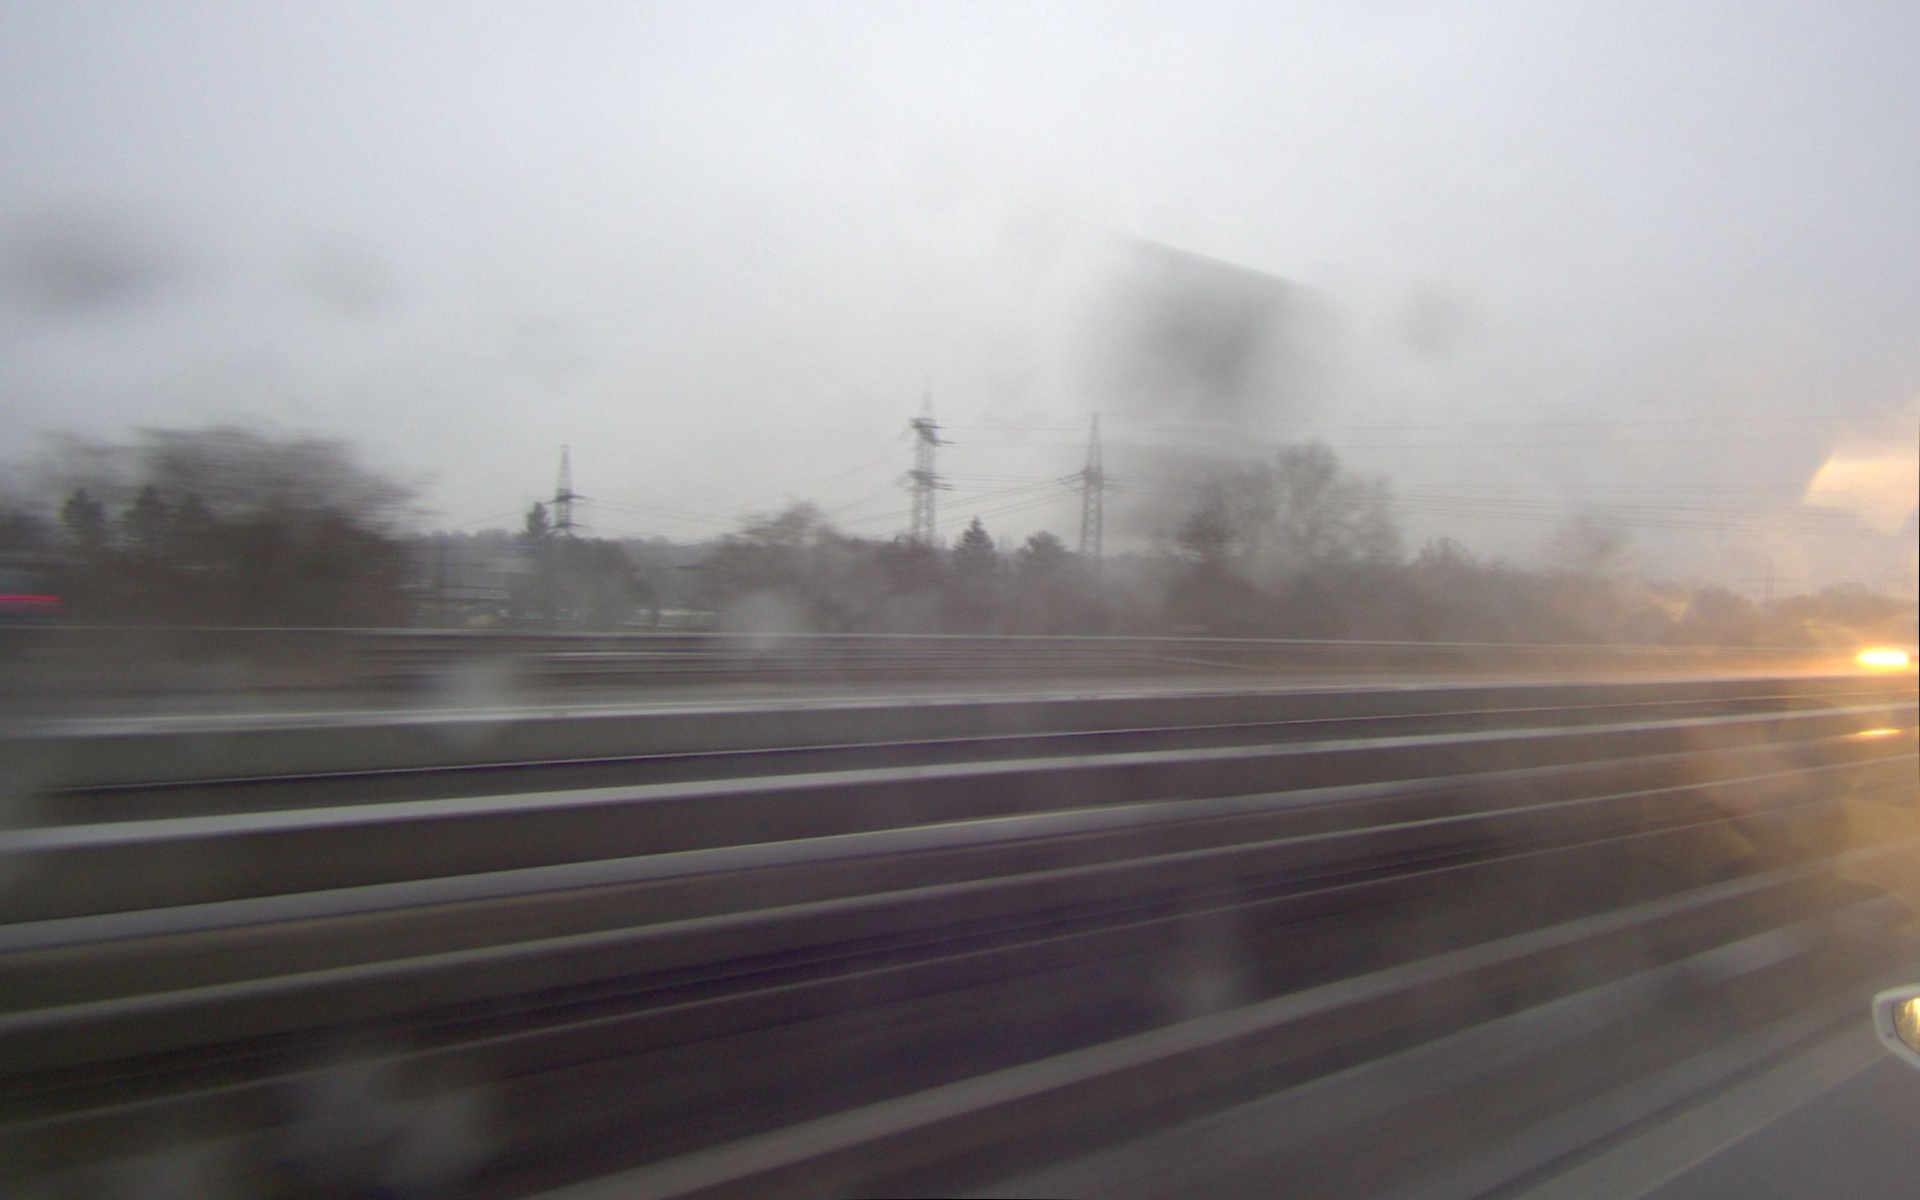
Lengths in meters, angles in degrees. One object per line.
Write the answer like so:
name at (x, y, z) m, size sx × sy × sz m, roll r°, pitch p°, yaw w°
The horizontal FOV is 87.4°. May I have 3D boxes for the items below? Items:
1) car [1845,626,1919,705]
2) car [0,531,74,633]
car at (21.328, 1.379, 21.795) m, size 4.087 × 1.572 × 1.984 m, roll 1°, pitch 0°, yaw -30°
car at (-20.781, -0.406, 20.301) m, size 3.954 × 2.040 × 1.983 m, roll 2°, pitch 0°, yaw -31°
